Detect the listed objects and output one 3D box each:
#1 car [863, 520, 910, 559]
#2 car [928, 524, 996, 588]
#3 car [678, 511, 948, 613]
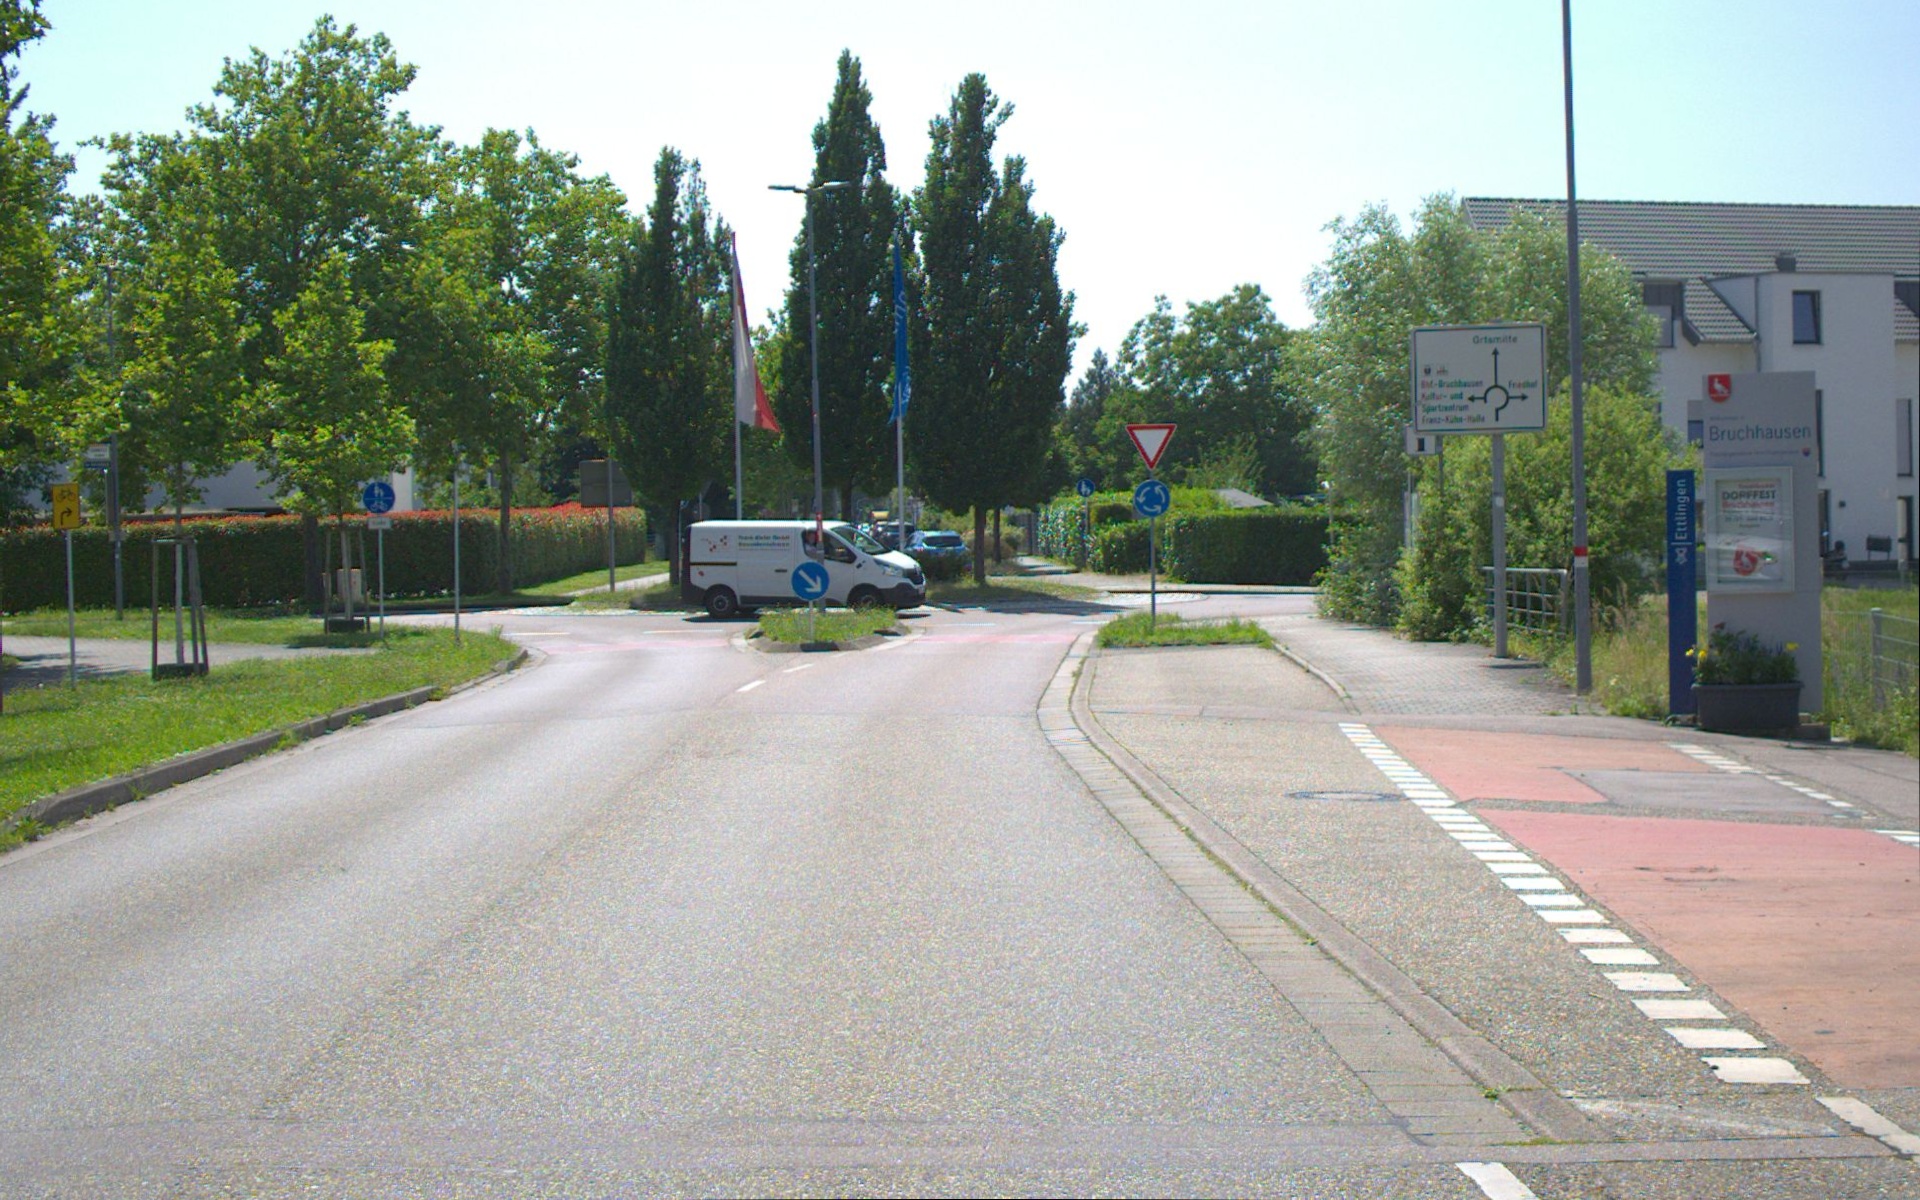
[{"bbox_3d":[-3.360,-2.745,156.770,1.993,1.764,4.001,0,1,-3],"label":"car"},{"bbox_3d":[0.049,-1.339,103.737,1.923,1.879,4.000,0,1,-2],"label":"car"},{"bbox_3d":[-2.991,-0.785,70.466,5.135,2.007,2.133,1,1,13],"label":"car"}]
